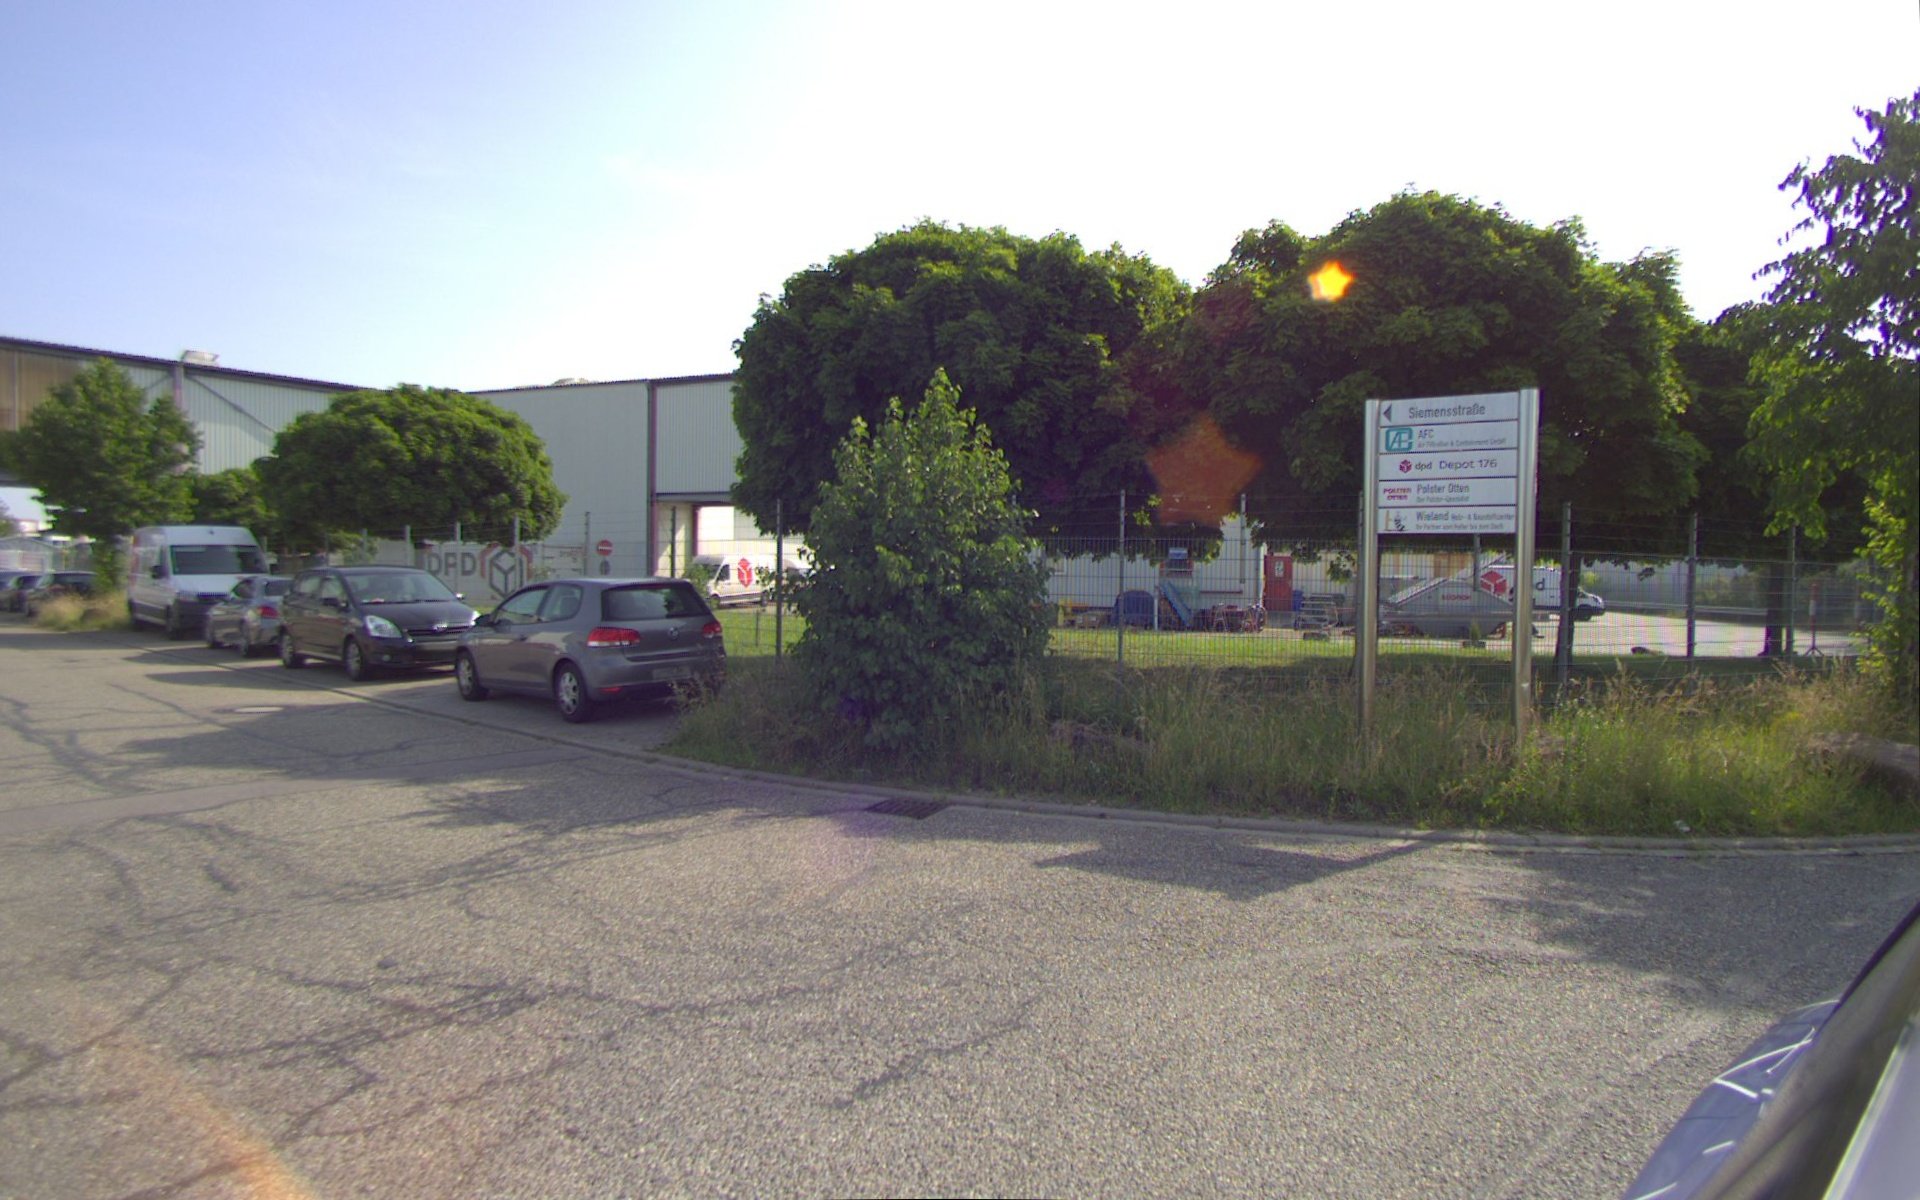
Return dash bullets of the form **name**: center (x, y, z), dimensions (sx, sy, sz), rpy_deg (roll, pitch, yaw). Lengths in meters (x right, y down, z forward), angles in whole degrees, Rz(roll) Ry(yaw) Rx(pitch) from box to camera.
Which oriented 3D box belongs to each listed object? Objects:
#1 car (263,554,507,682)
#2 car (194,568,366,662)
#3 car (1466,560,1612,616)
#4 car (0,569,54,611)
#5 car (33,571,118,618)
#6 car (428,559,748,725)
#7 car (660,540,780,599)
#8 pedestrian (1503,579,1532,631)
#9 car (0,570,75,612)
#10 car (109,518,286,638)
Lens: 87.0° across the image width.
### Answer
- **car**: center (-8.784, 0.171, 15.325), dimensions (4.249, 1.645, 1.851), rpy_deg (1, 4, 41)
- **car**: center (-12.952, 0.191, 19.164), dimensions (4.476, 1.536, 1.702), rpy_deg (1, 4, 43)
- **car**: center (29.769, -0.658, 52.300), dimensions (6.197, 2.681, 2.198), rpy_deg (1, 1, 21)
- **car**: center (-37.130, -0.425, 39.940), dimensions (3.771, 1.543, 1.701), rpy_deg (2, 1, 43)
- **car**: center (-28.681, -0.214, 32.772), dimensions (3.771, 1.404, 1.701), rpy_deg (2, 2, 43)
- **car**: center (-4.348, 0.345, 11.572), dimensions (3.944, 1.542, 1.703), rpy_deg (1, 4, 41)
- **car**: center (-11.160, -1.441, 47.731), dimensions (2.148, 2.548, 6.657), rpy_deg (1, 2, 21)
- **pedestrian**: center (19.327, 0.158, 35.079), dimensions (0.851, 1.743, 0.625), rpy_deg (1, 1, 30)
- **car**: center (-33.159, -0.339, 36.326), dimensions (3.771, 1.404, 1.701), rpy_deg (2, 2, 43)
- **car**: center (-18.473, -0.575, 24.340), dimensions (6.824, 2.513, 2.175), rpy_deg (1, 4, 43)
